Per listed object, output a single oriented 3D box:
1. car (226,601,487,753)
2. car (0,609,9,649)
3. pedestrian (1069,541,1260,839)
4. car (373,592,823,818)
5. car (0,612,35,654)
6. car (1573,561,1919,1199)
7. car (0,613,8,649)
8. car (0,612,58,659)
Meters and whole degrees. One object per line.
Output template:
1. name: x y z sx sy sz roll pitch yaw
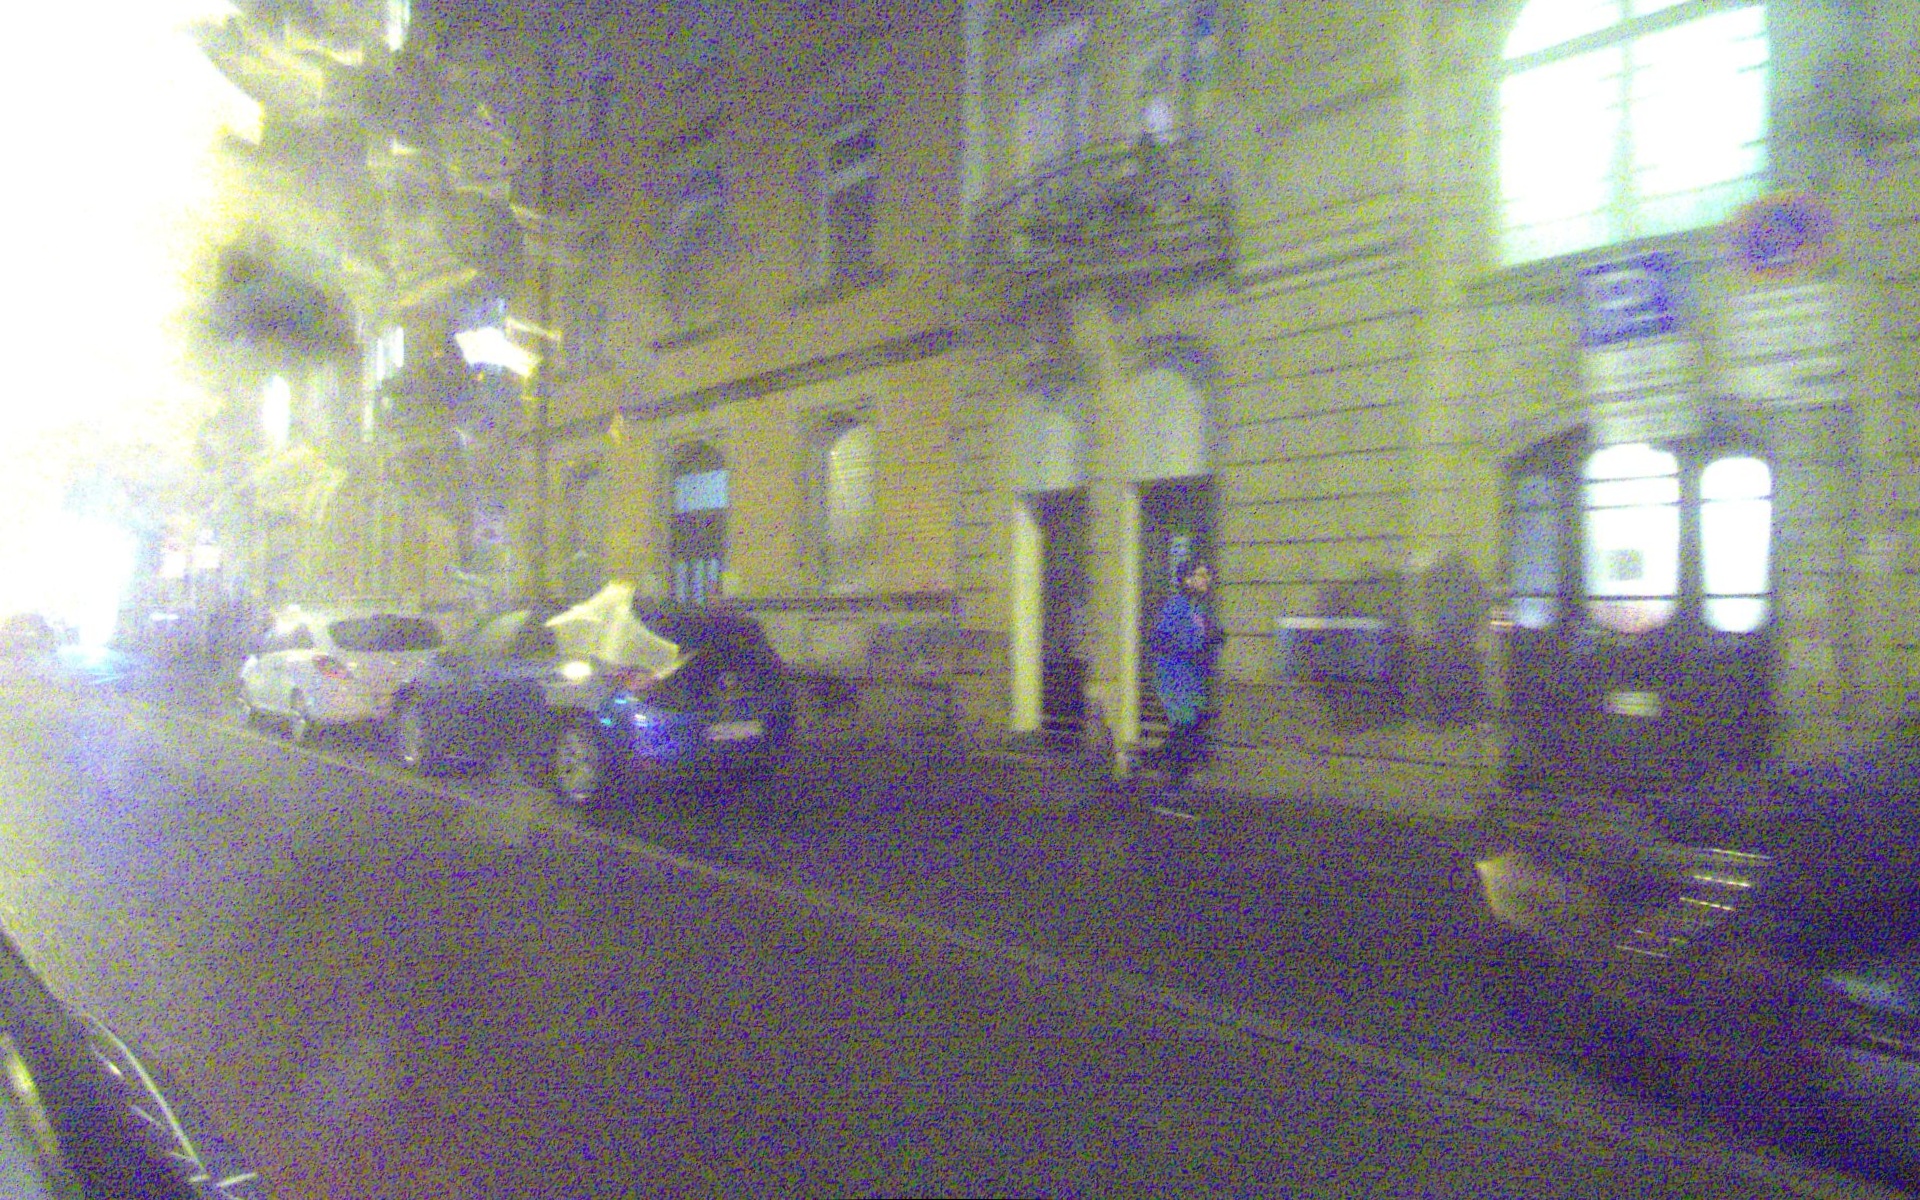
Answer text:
1. car: -7.204 0.784 11.927 3.786 1.489 1.697 -1 -1 44
2. car: -40.798 1.200 41.847 3.733 1.592 1.828 -1 -1 41
3. pedestrian: 1.383 0.564 6.904 1.078 1.846 0.667 -1 -1 43
4. car: -3.226 0.726 8.635 4.155 1.490 1.699 -1 -1 39
5. car: -36.198 1.228 37.963 3.733 1.489 1.828 -1 -1 41
6. car: 4.140 0.648 1.750 5.029 1.490 1.827 -1 -2 42
7. car: -44.279 1.403 45.494 3.733 1.592 1.828 -1 -1 41
8. car: -31.943 1.178 34.146 3.733 1.489 1.828 -1 -1 41
